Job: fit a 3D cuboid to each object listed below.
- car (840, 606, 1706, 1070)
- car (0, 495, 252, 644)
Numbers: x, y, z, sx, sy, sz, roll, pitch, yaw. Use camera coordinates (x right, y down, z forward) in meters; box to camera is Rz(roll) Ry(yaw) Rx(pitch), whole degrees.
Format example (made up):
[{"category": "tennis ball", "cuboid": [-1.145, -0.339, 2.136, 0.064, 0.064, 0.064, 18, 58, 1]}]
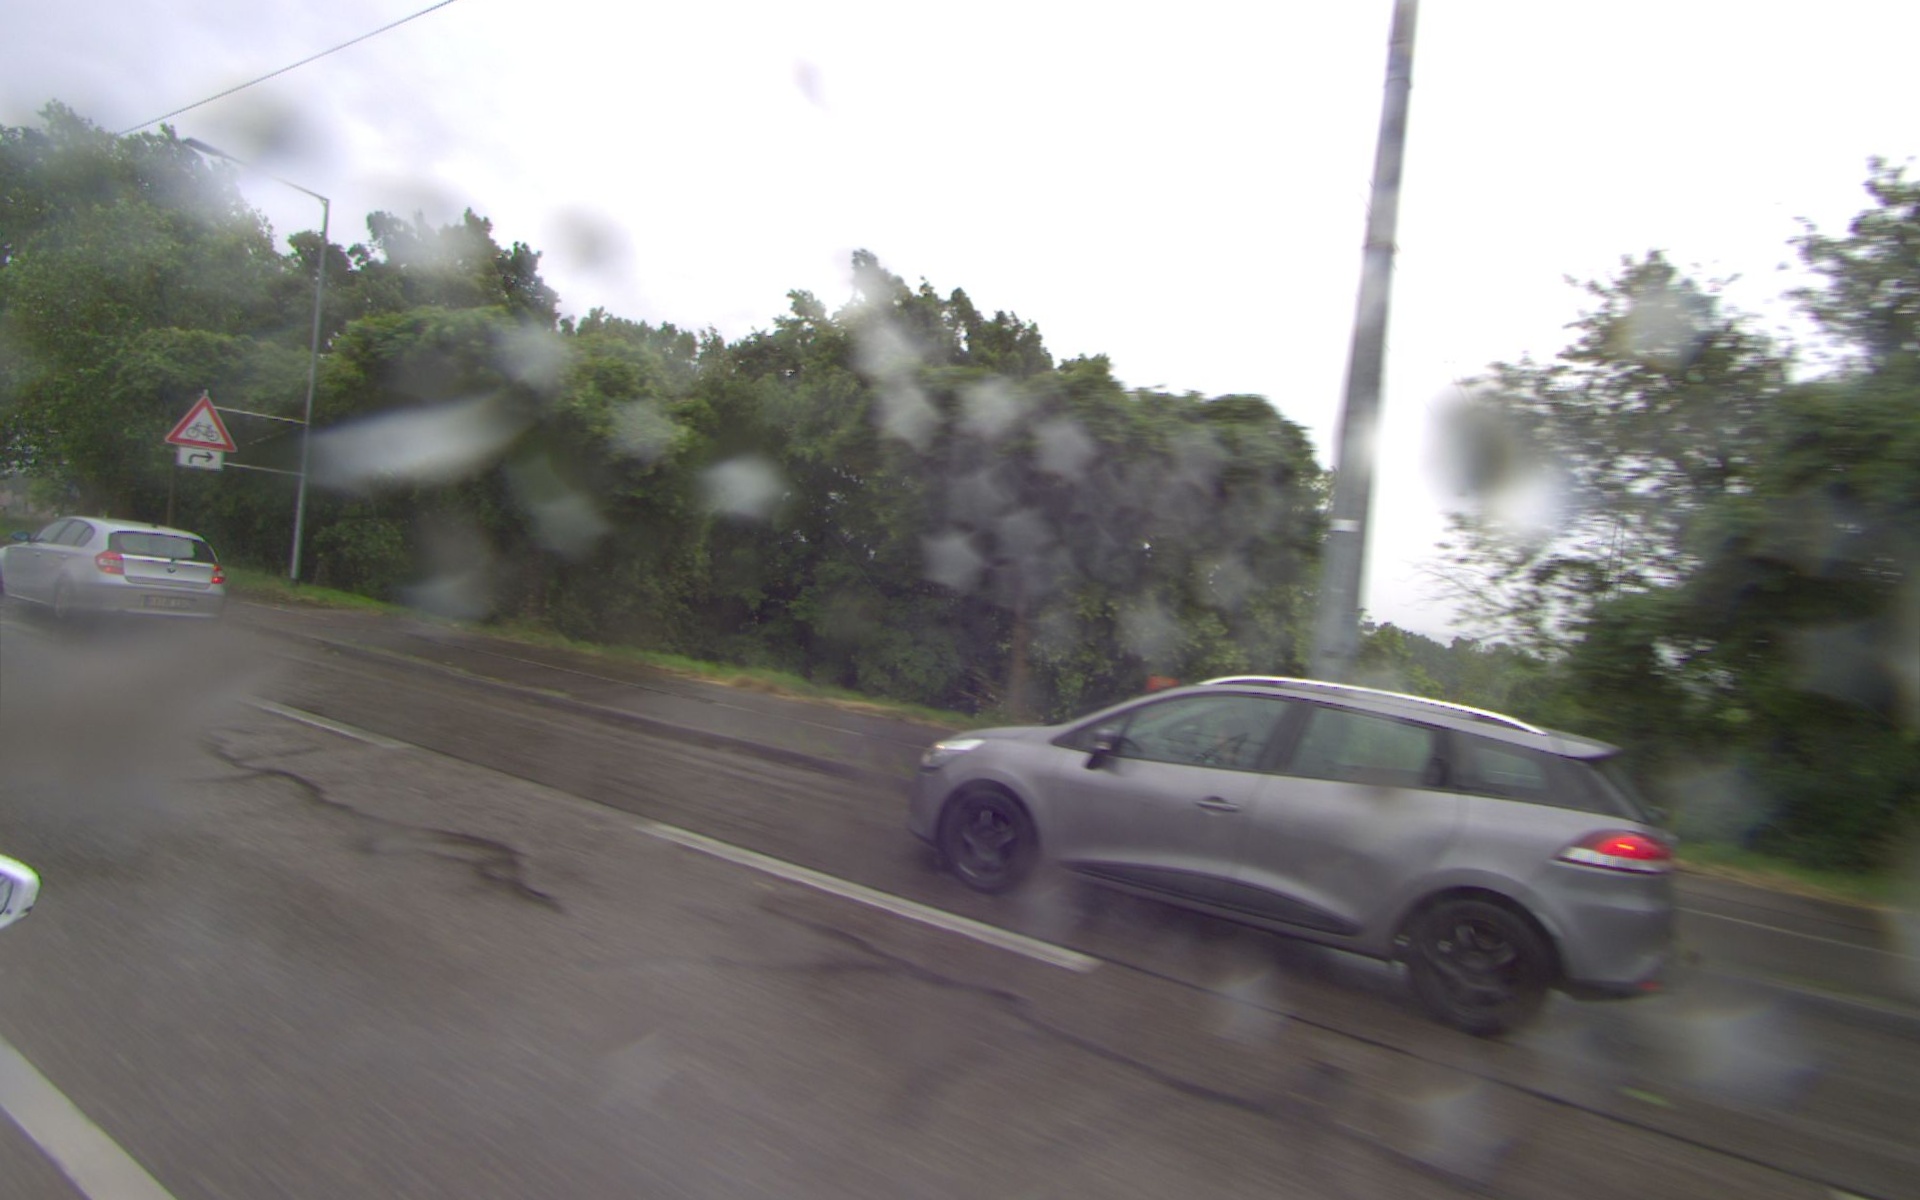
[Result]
[{"category": "car", "cuboid": [1.596, 1.051, 5.919, 4.207, 1.372, 1.891, 8, -2, 33]}, {"category": "car", "cuboid": [-12.089, -0.489, 14.167, 4.528, 1.520, 1.630, 8, -1, 31]}]
